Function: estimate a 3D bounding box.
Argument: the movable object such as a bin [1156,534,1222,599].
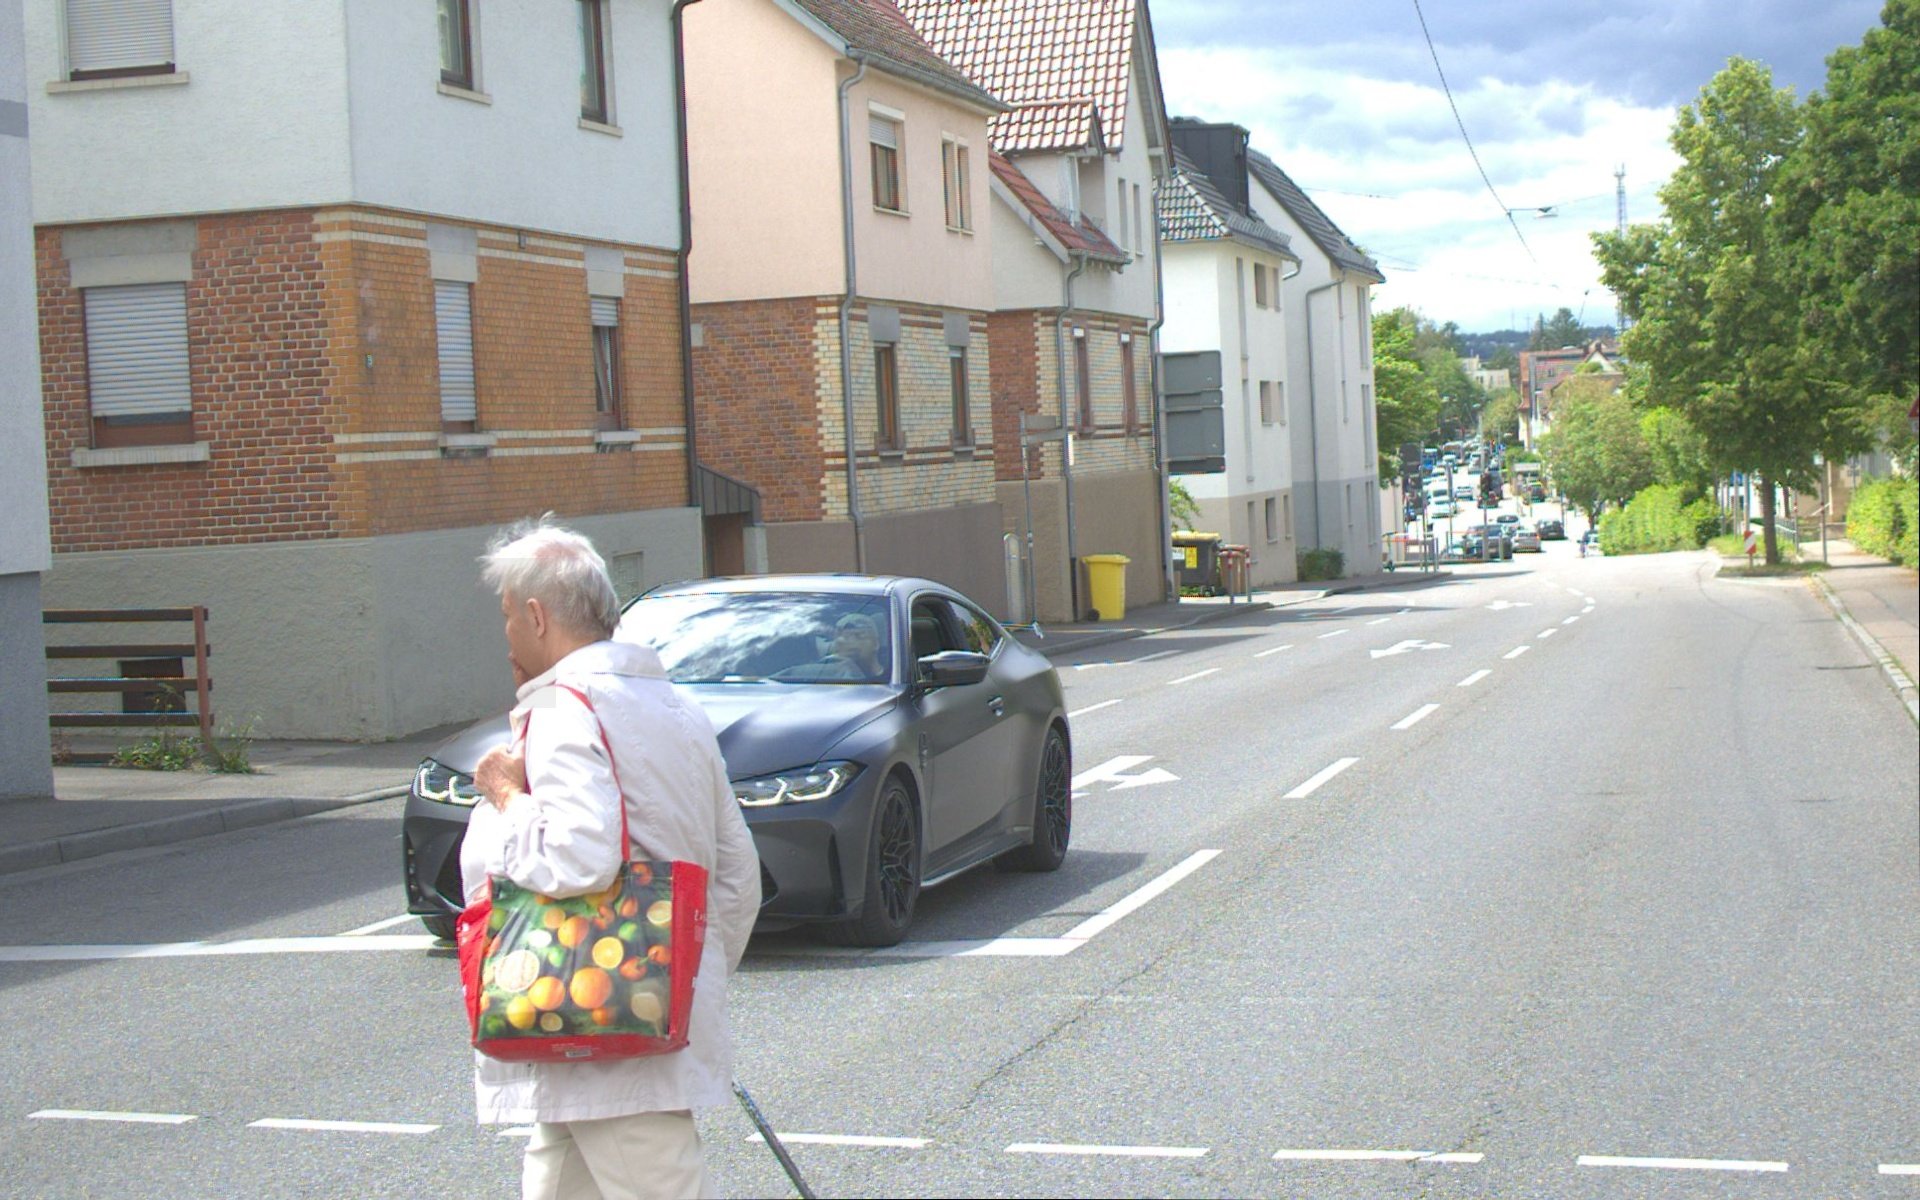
[{"bbox_3d":[4.801,-0.704,72.146,1.281,1.305,0.816,-2,1,8],"label":"movable object such as a bin"}]

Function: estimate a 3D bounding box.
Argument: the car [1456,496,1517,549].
[{"bbox_3d":[20.930,-3.097,136.819,1.994,2.007,4.000,-2,1,4],"label":"car"}]

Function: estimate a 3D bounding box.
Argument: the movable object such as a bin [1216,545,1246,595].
[{"bbox_3d":[5.764,-0.636,73.110,0.532,1.026,0.455,-2,1,11],"label":"movable object such as a bin"}]

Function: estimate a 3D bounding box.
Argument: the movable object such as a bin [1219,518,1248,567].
[{"bbox_3d":[5.847,-1.229,73.442,0.532,1.026,0.455,-2,1,11],"label":"movable object such as a bin"}]

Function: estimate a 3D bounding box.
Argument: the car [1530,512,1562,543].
[{"bbox_3d":[40.520,-4.995,237.787,1.994,2.007,3.999,-3,0,9],"label":"car"}]

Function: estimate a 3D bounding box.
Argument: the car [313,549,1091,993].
[{"bbox_3d":[-0.869,0.598,14.658,1.994,1.452,4.615,-3,1,12],"label":"car"}]

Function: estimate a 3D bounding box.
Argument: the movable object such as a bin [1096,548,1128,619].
[{"bbox_3d":[2.483,-0.267,56.169,0.431,1.124,0.299,-3,1,12],"label":"movable object such as a bin"}]

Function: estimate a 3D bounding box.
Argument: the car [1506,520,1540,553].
[{"bbox_3d":[36.461,-4.085,222.681,1.994,2.007,3.999,-3,0,9],"label":"car"}]

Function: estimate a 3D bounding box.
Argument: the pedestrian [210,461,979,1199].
[{"bbox_3d":[-0.544,0.610,5.368,0.872,1.632,0.835,0,2,24],"label":"pedestrian"}]
